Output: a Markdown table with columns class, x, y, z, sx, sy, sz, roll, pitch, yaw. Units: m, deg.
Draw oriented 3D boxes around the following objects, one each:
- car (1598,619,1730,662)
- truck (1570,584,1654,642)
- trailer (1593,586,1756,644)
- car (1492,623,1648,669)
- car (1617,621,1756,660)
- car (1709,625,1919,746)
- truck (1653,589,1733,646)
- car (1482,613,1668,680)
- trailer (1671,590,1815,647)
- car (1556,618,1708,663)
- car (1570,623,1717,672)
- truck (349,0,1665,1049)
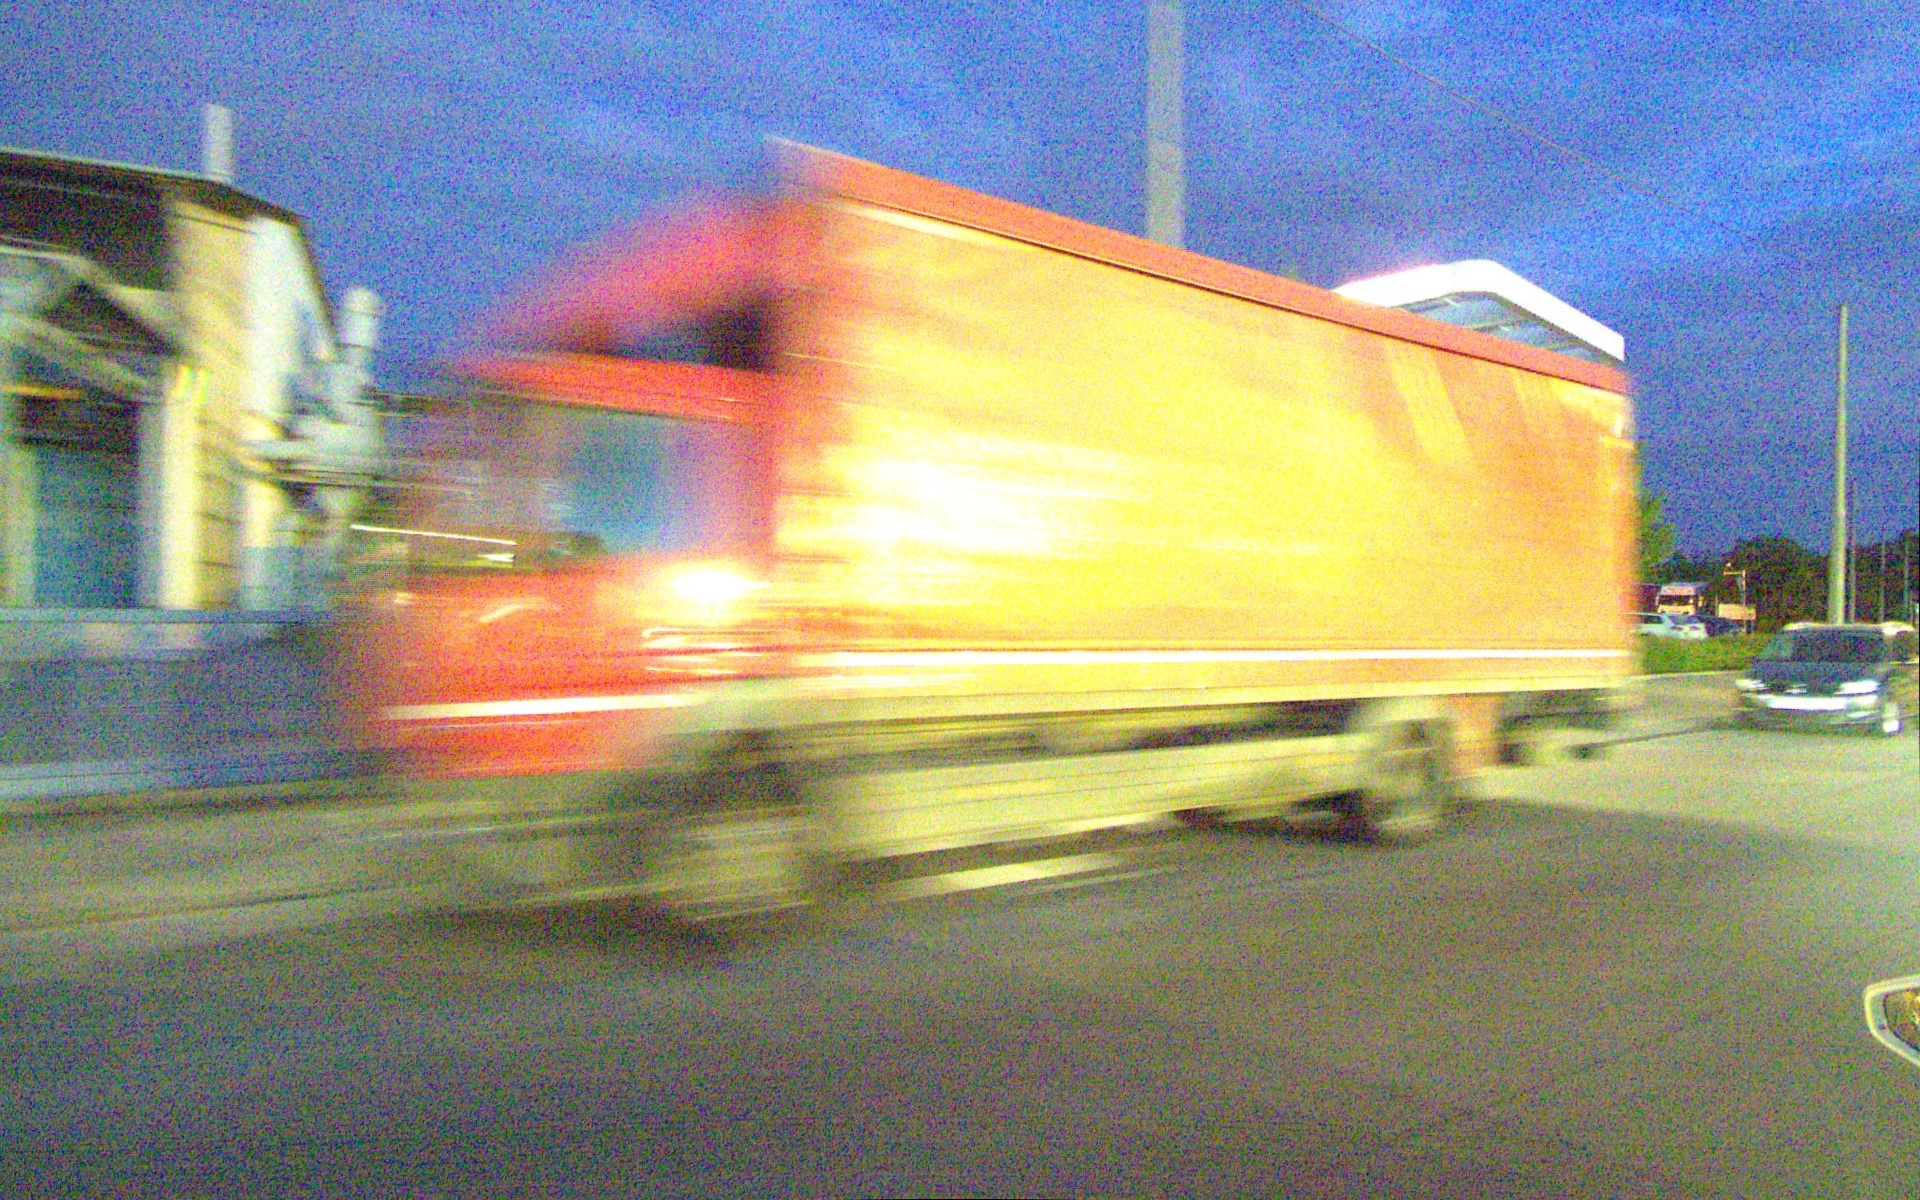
| class | x | y | z | sx | sy | sz | roll | pitch | yaw |
| --- | --- | --- | --- | --- | --- | --- | --- | --- | --- |
| car | 28.704 | 1.611 | 41.031 | 1.826 | 1.600 | 4.097 | 2 | -1 | -40 |
| truck | 49.675 | 0.970 | 76.564 | 4.864 | 4.204 | 3.052 | 1 | 0 | -22 |
| trailer | 56.666 | 1.211 | 79.490 | 14.785 | 4.204 | 3.052 | 2 | 0 | -22 |
| car | 20.800 | 1.536 | 34.383 | 1.813 | 1.412 | 4.231 | 2 | -1 | -40 |
| car | 30.800 | 1.686 | 42.692 | 2.042 | 1.471 | 4.417 | 2 | -1 | -36 |
| car | 13.600 | 1.221 | 15.620 | 4.449 | 1.614 | 1.854 | 1 | -1 | -35 |
| truck | 52.937 | 1.268 | 72.586 | 4.449 | 3.985 | 3.044 | 1 | 0 | -29 |
| car | 18.247 | 1.322 | 29.955 | 1.946 | 1.840 | 4.368 | 2 | -2 | -40 |
| trailer | 59.713 | 1.480 | 76.388 | 14.821 | 3.985 | 3.044 | 2 | 0 | -29 |
| car | 24.849 | 1.458 | 37.251 | 1.836 | 1.498 | 4.368 | 2 | -1 | -40 |
| car | 26.445 | 1.791 | 38.962 | 1.947 | 1.703 | 4.365 | 2 | -1 | -41 |
| truck | 1.170 | -0.408 | 7.093 | 9.233 | 4.175 | 2.759 | 1 | -1 | -31 |
